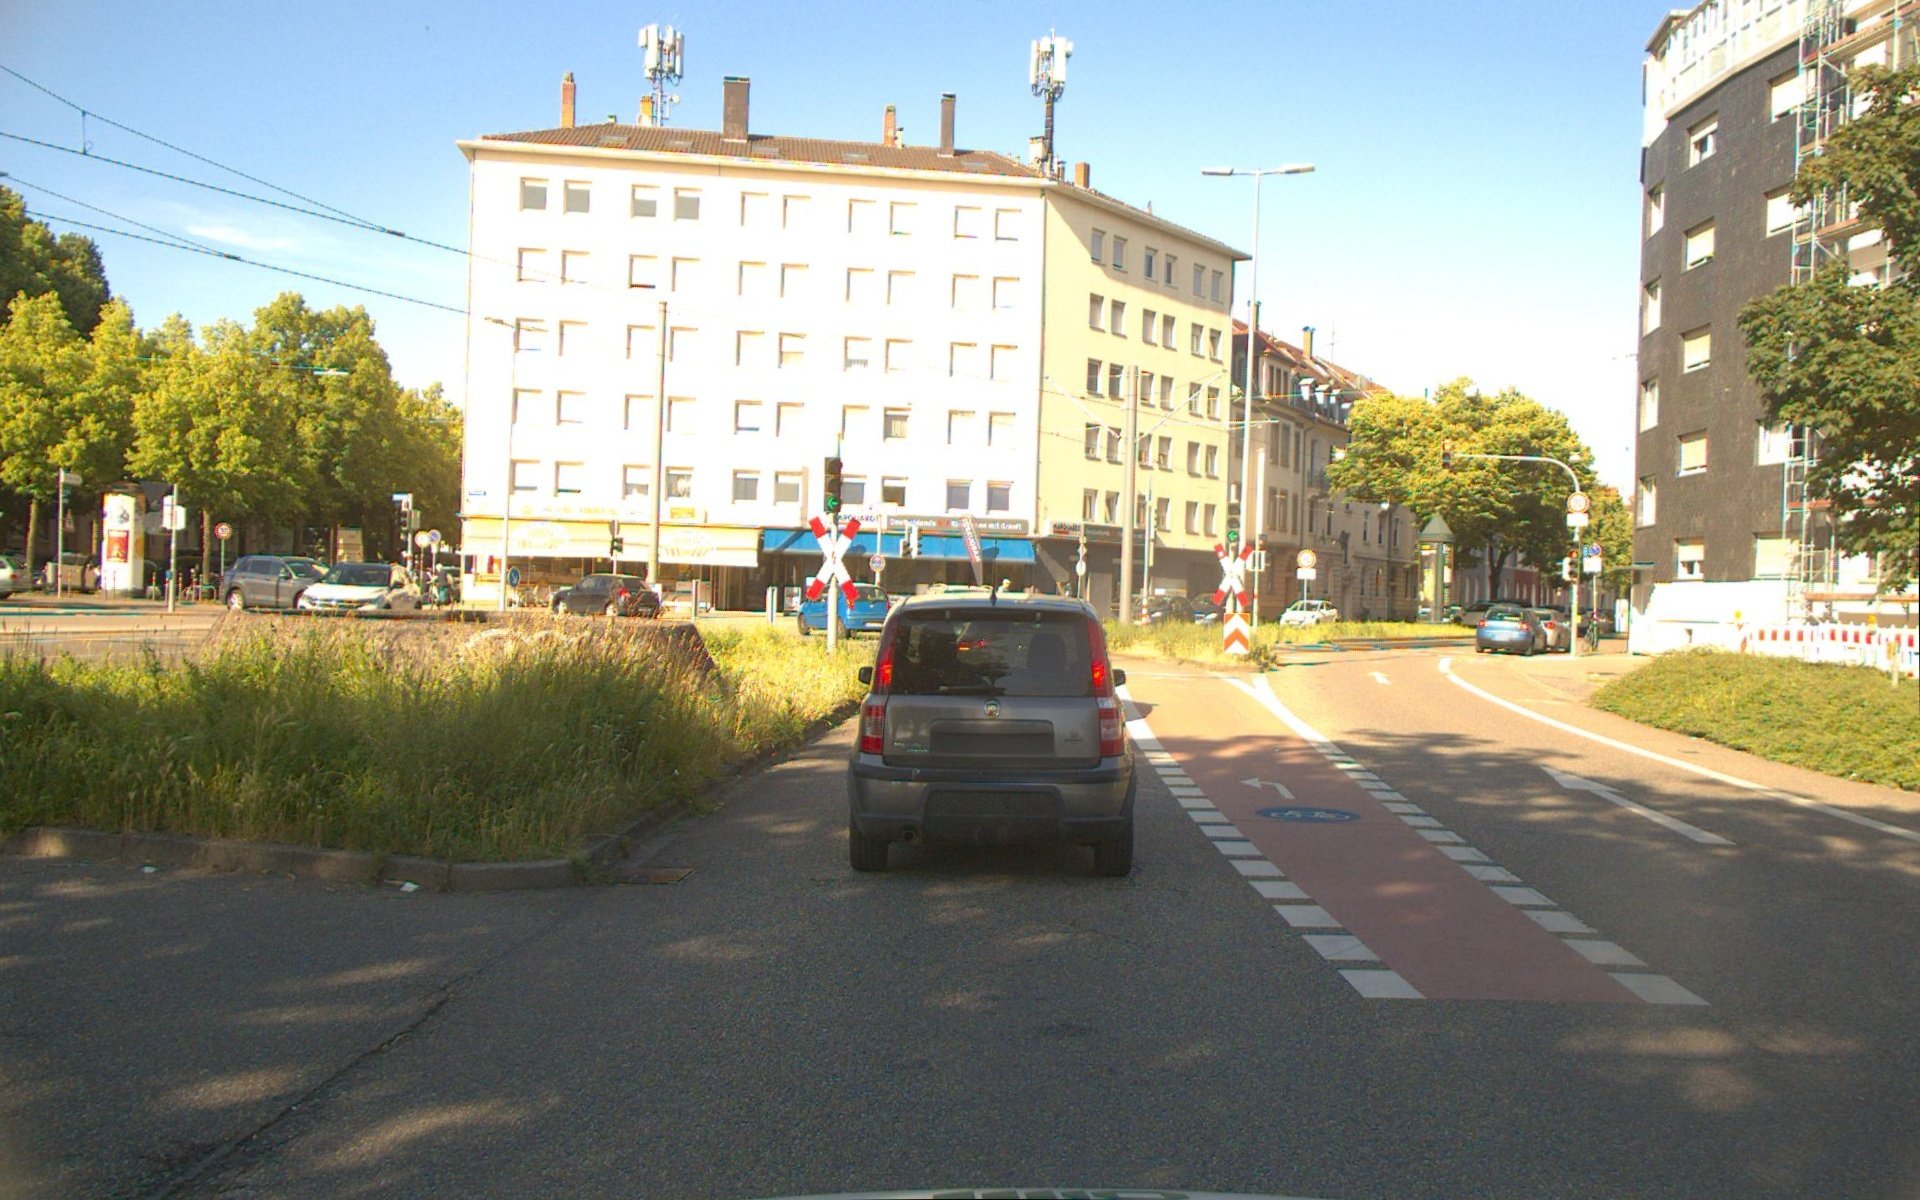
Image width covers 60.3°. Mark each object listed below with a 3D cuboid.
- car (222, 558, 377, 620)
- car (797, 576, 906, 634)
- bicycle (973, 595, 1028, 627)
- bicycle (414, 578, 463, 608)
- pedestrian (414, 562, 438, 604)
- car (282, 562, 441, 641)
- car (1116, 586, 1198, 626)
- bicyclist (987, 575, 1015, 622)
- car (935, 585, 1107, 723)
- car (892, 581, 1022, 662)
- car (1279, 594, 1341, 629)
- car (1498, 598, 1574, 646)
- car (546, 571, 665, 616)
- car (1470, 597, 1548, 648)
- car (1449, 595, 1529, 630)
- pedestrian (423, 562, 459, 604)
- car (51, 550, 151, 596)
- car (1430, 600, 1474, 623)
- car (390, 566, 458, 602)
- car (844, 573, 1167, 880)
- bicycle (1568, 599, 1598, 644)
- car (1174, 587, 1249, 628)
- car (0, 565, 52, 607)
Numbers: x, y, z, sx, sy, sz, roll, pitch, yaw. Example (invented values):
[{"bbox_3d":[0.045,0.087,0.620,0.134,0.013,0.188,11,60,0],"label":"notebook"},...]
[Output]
[{"bbox_3d":[-18.714,-0.323,46.857,3.910,1.599,1.998,2,0,27],"label":"car"},{"bbox_3d":[-3.008,0.110,45.295,1.629,1.463,3.362,2,0,-30],"label":"car"},{"bbox_3d":[1.400,0.389,57.424,1.812,1.050,0.589,2,0,15],"label":"bicycle"},{"bbox_3d":[-18.694,-0.249,59.267,1.821,0.968,0.781,3,-1,39],"label":"bicycle"},{"bbox_3d":[-21.592,-0.682,66.895,0.781,1.649,0.823,1,1,-26],"label":"pedestrian"},{"bbox_3d":[-13.208,0.014,36.786,1.953,1.589,4.386,2,0,-1],"label":"car"},{"bbox_3d":[7.594,0.248,63.559,1.757,1.420,3.717,2,0,31],"label":"car"},{"bbox_3d":[1.419,-0.063,57.424,0.804,1.586,0.562,2,0,15],"label":"bicyclist"},{"bbox_3d":[0.638,0.575,19.894,1.589,1.454,3.684,2,0,-5],"label":"car"},{"bbox_3d":[-0.135,0.392,34.009,1.729,1.512,4.279,2,0,-13],"label":"car"},{"bbox_3d":[16.443,0.543,77.629,1.757,1.508,3.524,2,0,31],"label":"car"},{"bbox_3d":[19.813,0.717,56.794,1.785,1.534,3.993,2,1,29],"label":"car"},{"bbox_3d":[-11.231,-0.202,52.355,3.552,1.275,1.690,2,0,35],"label":"car"},{"bbox_3d":[17.435,0.691,52.472,1.741,1.467,3.613,3,1,28],"label":"car"},{"bbox_3d":[26.797,0.619,83.903,1.874,1.621,3.981,2,1,-17],"label":"car"},{"bbox_3d":[-18.591,-0.607,59.236,0.920,1.452,0.772,2,-1,38],"label":"pedestrian"},{"bbox_3d":[-34.061,-1.075,65.574,3.440,1.723,1.614,1,2,19],"label":"car"},{"bbox_3d":[32.863,0.777,110.459,1.956,1.419,3.993,2,0,29],"label":"car"},{"bbox_3d":[-24.286,-0.732,75.018,1.897,1.539,3.937,2,0,-3],"label":"car"},{"bbox_3d":[0.166,0.639,10.139,1.627,1.536,3.250,2,0,-3],"label":"car"},{"bbox_3d":[21.728,0.745,57.684,0.562,1.537,2.803,2,0,29],"label":"bicycle"},{"bbox_3d":[10.460,0.315,68.661,1.757,1.593,3.758,2,0,31],"label":"car"},{"bbox_3d":[-31.228,-0.502,52.485,3.932,1.264,1.987,2,0,-22],"label":"car"}]
